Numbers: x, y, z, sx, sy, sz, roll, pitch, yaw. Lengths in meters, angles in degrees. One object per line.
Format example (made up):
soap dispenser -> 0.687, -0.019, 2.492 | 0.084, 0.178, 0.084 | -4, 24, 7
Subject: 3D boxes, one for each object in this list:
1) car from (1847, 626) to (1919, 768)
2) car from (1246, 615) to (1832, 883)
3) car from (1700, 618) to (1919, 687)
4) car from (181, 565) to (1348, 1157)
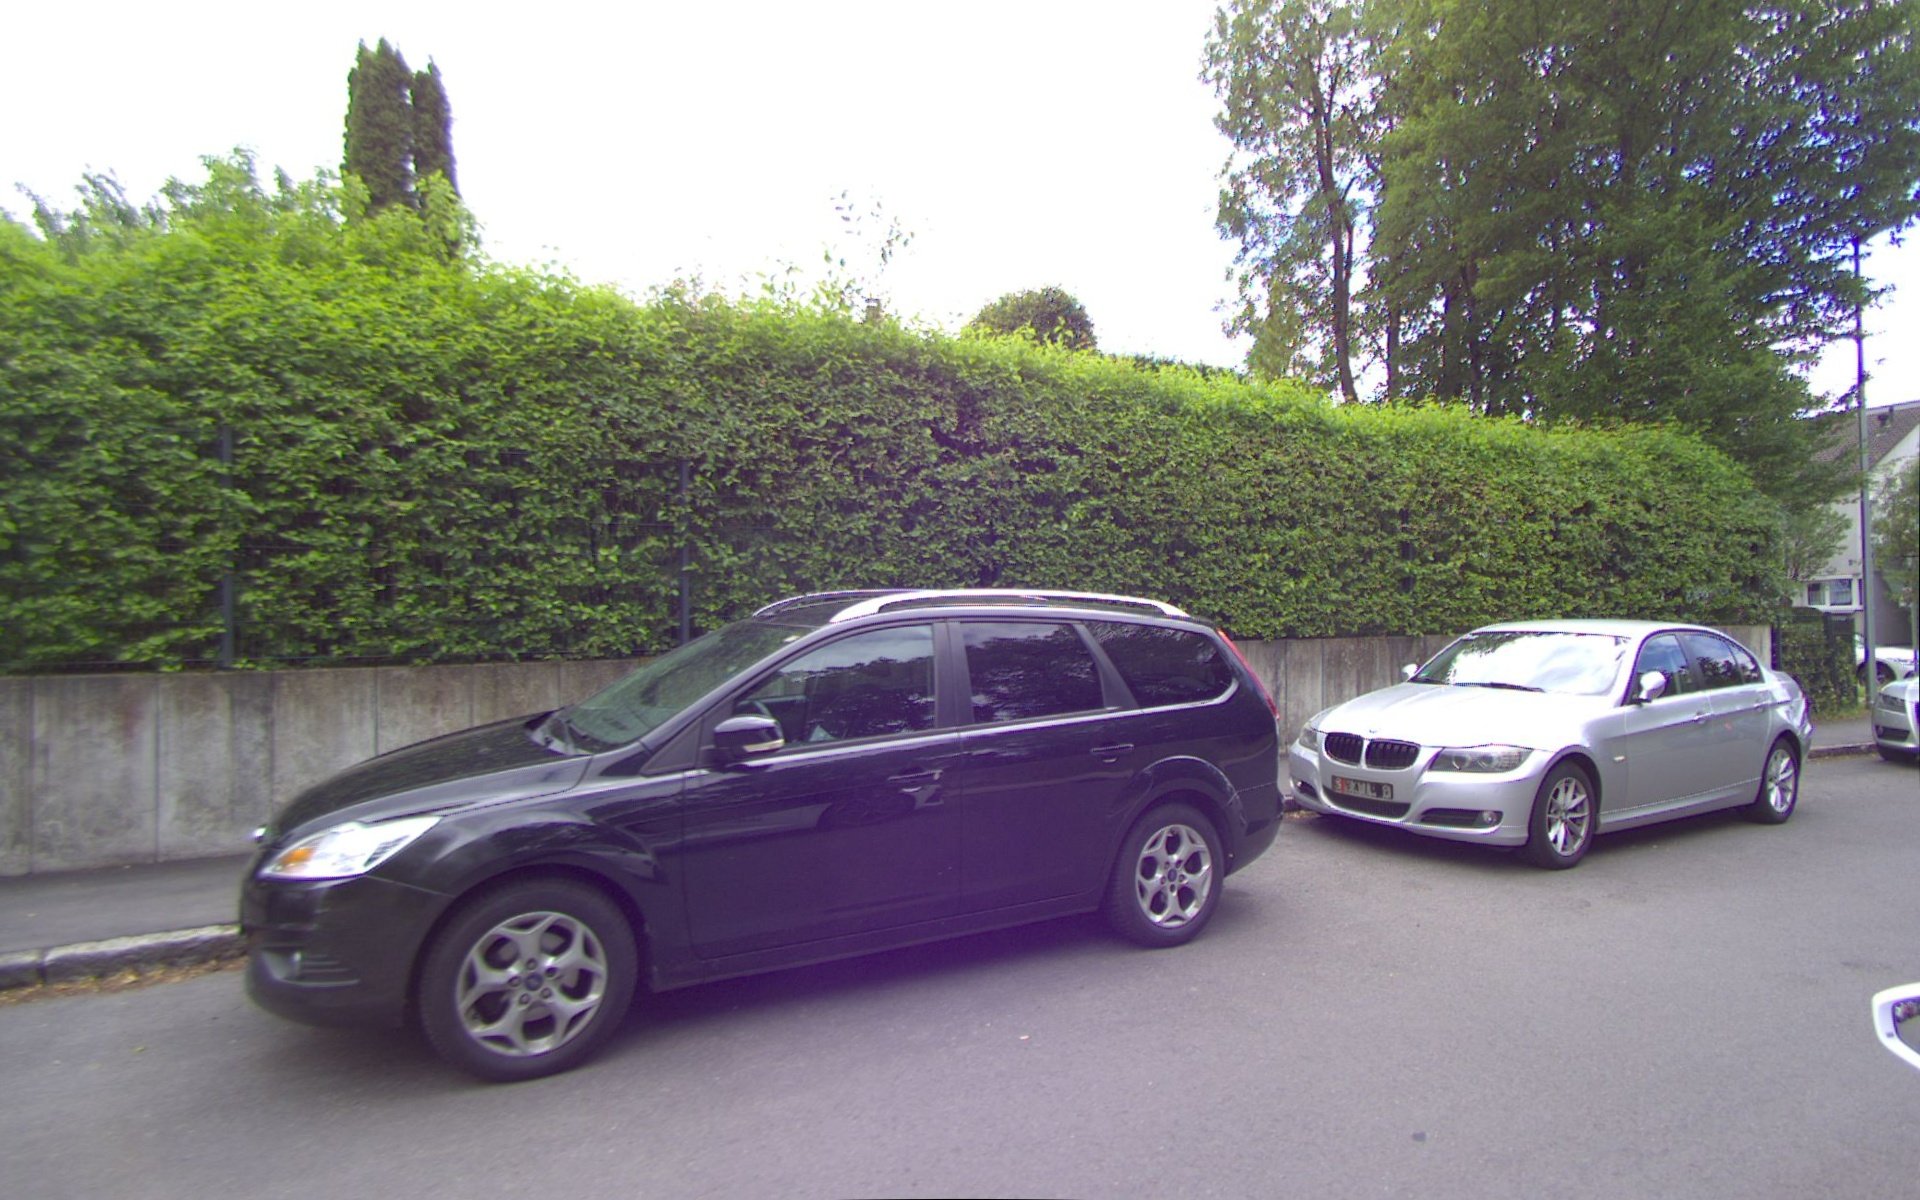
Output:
car -> 11.582, 0.995, 10.584 | 4.386, 1.392, 1.825 | 1, 0, -26
car -> 4.231, 0.827, 7.167 | 4.290, 1.392, 1.766 | 1, 0, -31
car -> 23.570, 1.367, 27.572 | 2.009, 1.692, 4.924 | 1, -1, -24
car -> -0.484, 0.717, 4.434 | 4.419, 1.554, 1.649 | 1, 0, -29
